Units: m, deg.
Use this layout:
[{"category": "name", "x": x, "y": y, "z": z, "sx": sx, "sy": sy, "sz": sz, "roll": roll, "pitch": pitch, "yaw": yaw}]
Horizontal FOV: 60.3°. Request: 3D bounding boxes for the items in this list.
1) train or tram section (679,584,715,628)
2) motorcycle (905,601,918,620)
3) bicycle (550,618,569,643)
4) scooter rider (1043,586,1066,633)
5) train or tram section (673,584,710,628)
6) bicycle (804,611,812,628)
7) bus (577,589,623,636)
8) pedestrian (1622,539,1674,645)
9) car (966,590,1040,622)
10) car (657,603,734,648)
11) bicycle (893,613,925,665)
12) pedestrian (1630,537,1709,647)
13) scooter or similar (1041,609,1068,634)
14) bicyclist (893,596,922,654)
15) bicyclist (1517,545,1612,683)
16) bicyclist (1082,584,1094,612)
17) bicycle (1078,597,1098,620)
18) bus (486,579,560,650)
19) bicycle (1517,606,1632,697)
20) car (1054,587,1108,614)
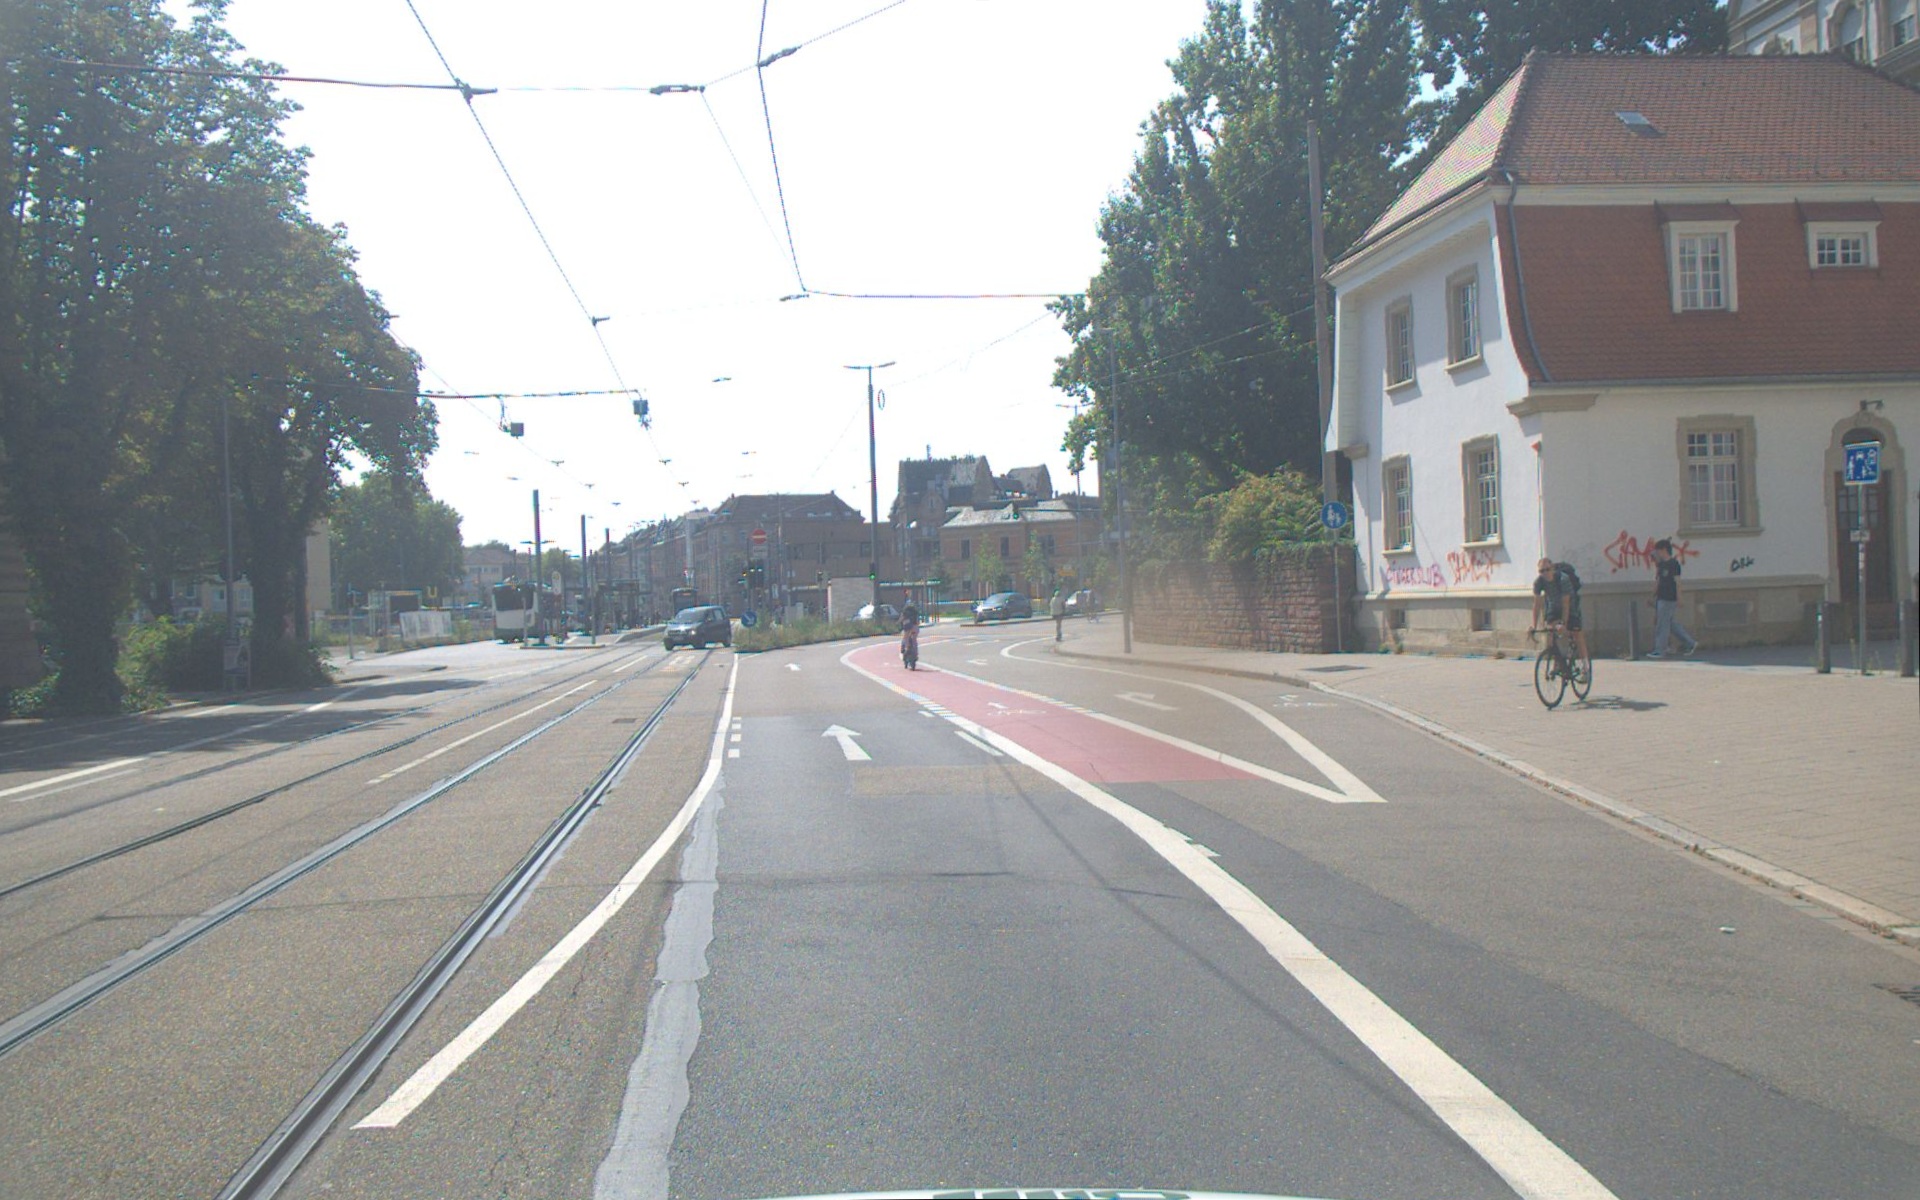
[{"category": "train or tram section", "x": -26.585, "y": 0.663, "z": 167.722, "sx": 2.832, "sy": 4.139, "sz": 19.110, "roll": -2, "pitch": 0, "yaw": -7}, {"category": "motorcycle", "x": -3.227, "y": 0.682, "z": 110.539, "sx": 0.591, "sy": 1.232, "sz": 2.254, "roll": -2, "pitch": 0, "yaw": 3}, {"category": "bicycle", "x": -20.427, "y": 1.551, "z": 84.358, "sx": 0.595, "sy": 1.244, "sz": 1.704, "roll": -2, "pitch": 0, "yaw": -4}, {"category": "scooter rider", "x": 3.722, "y": 0.365, "z": 64.802, "sx": 0.746, "sy": 1.806, "sz": 0.555, "roll": -2, "pitch": 0, "yaw": 13}, {"category": "train or tram section", "x": -24.160, "y": 0.585, "z": 149.499, "sx": 2.803, "sy": 3.610, "sz": 17.710, "roll": -2, "pitch": 0, "yaw": -8}, {"category": "bicycle", "x": -9.563, "y": 1.232, "z": 104.210, "sx": 0.455, "sy": 1.051, "sz": 1.546, "roll": -2, "pitch": 0, "yaw": -6}, {"category": "bus", "x": -30.876, "y": 1.092, "z": 142.162, "sx": 2.658, "sy": 3.792, "sz": 10.404, "roll": -2, "pitch": 0, "yaw": -6}, {"category": "pedestrian", "x": 11.259, "y": -0.134, "z": 27.058, "sx": 0.477, "sy": 1.695, "sz": 0.618, "roll": -2, "pitch": 0, "yaw": -11}, {"category": "car", "x": 2.471, "y": 0.317, "z": 94.312, "sx": 1.743, "sy": 1.638, "sz": 4.653, "roll": -3, "pitch": 0, "yaw": 38}, {"category": "car", "x": -10.618, "y": 0.994, "z": 66.603, "sx": 1.655, "sy": 1.684, "sz": 3.583, "roll": -2, "pitch": 0, "yaw": 16}, {"category": "bicycle", "x": -1.235, "y": 0.917, "z": 39.558, "sx": 0.592, "sy": 1.183, "sz": 1.808, "roll": -2, "pitch": 0, "yaw": -6}, {"category": "pedestrian", "x": 11.295, "y": -0.132, "z": 26.346, "sx": 0.861, "sy": 1.695, "sz": 0.727, "roll": -2, "pitch": 0, "yaw": -11}, {"category": "scooter or similar", "x": 3.693, "y": 0.836, "z": 64.590, "sx": 0.756, "sy": 0.942, "sz": 1.622, "roll": -2, "pitch": 0, "yaw": 14}, {"category": "bicyclist", "x": -1.251, "y": 0.593, "z": 39.465, "sx": 0.591, "sy": 1.358, "sz": 0.658, "roll": -2, "pitch": 0, "yaw": -8}, {"category": "bicyclist", "x": 7.353, "y": 0.165, "z": 20.105, "sx": 0.984, "sy": 1.626, "sz": 0.618, "roll": -2, "pitch": -1, "yaw": -42}, {"category": "bicyclist", "x": 6.719, "y": -0.085, "z": 86.885, "sx": 0.441, "sy": 1.446, "sz": 0.495, "roll": -3, "pitch": 0, "yaw": 28}, {"category": "bicycle", "x": 6.729, "y": 0.437, "z": 86.852, "sx": 0.435, "sy": 1.136, "sz": 1.444, "roll": -3, "pitch": 0, "yaw": 27}, {"category": "bus", "x": -25.523, "y": 0.844, "z": 97.104, "sx": 2.903, "sy": 3.841, "sz": 10.576, "roll": -2, "pitch": 0, "yaw": -8}, {"category": "bicycle", "x": 7.528, "y": 0.615, "z": 20.230, "sx": 1.697, "sy": 1.017, "sz": 0.606, "roll": -2, "pitch": 0, "yaw": -43}, {"category": "car", "x": 7.690, "y": 0.038, "z": 104.736, "sx": 1.620, "sy": 1.557, "sz": 4.316, "roll": -3, "pitch": 0, "yaw": 31}]
